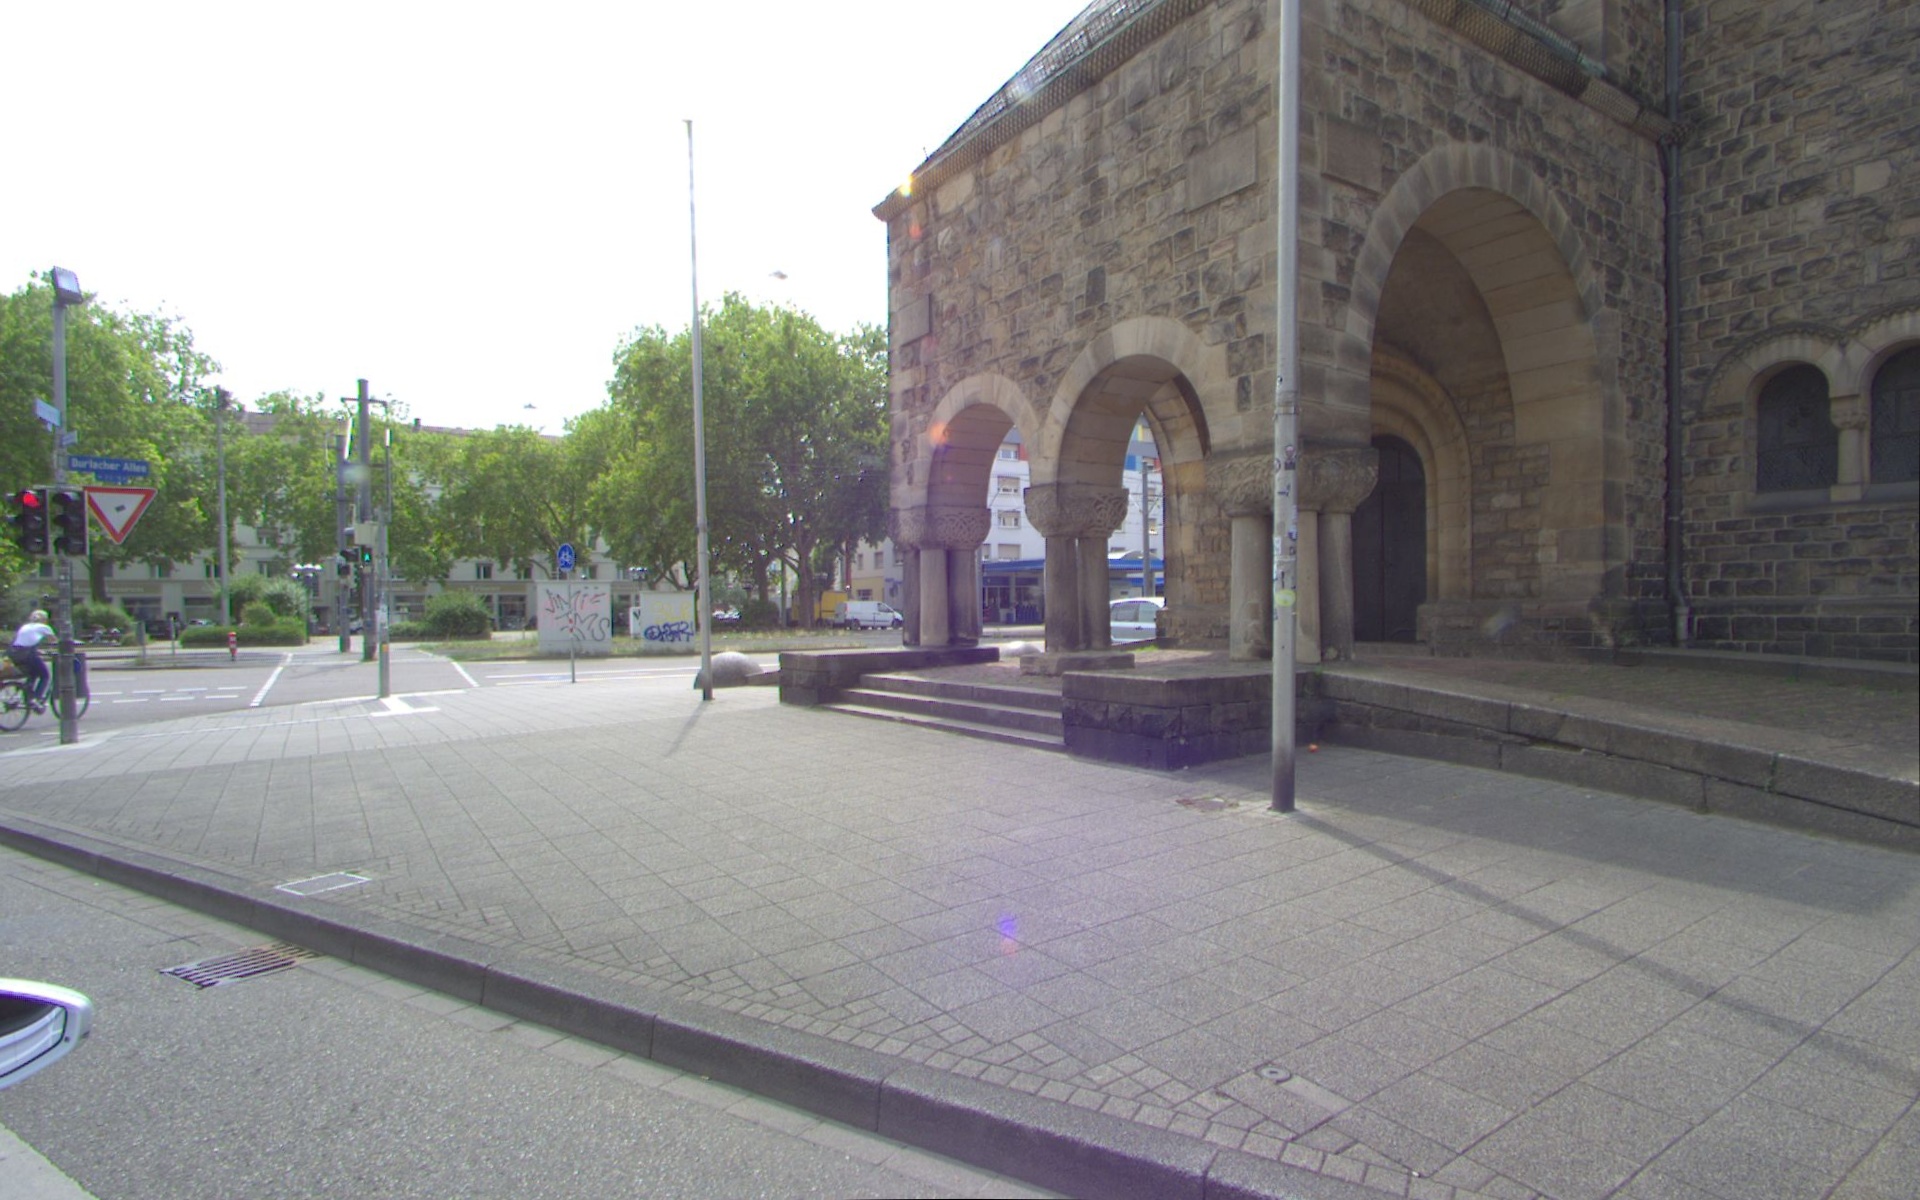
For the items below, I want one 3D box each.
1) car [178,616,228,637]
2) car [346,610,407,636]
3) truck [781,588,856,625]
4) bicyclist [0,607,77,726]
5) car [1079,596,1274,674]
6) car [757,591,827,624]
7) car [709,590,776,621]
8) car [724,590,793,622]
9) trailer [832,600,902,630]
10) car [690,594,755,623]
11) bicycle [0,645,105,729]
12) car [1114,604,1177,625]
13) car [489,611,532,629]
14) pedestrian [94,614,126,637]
[{"bbox_3d":[-56.960,1.951,75.343,3.949,1.523,1.986,-1,0,37],"label":"car"},{"bbox_3d":[-44.847,1.752,77.030,3.946,1.908,1.846,-1,0,-34],"label":"car"},{"bbox_3d":[-10.513,0.503,73.938,3.040,2.612,6.468,-1,0,-34],"label":"truck"},{"bbox_3d":[-13.820,0.964,14.796,0.890,1.706,0.756,0,0,-14],"label":"bicyclist"},{"bbox_3d":[4.684,0.716,22.171,1.992,1.563,4.002,0,0,-33],"label":"car"},{"bbox_3d":[-13.946,0.625,83.244,5.269,2.618,2.165,0,-1,-36],"label":"car"},{"bbox_3d":[-19.196,0.517,88.416,5.269,2.618,2.482,0,-1,-36],"label":"car"},{"bbox_3d":[-17.293,0.513,86.188,5.269,2.618,2.482,0,-1,-36],"label":"car"},{"bbox_3d":[-6.249,1.012,67.625,4.377,1.951,1.843,0,0,-33],"label":"trailer"},{"bbox_3d":[-21.993,0.802,92.684,5.269,2.618,2.482,0,-1,-36],"label":"car"},{"bbox_3d":[-13.808,1.257,14.836,0.889,1.089,1.968,0,0,-12],"label":"bicycle"},{"bbox_3d":[14.109,1.099,76.127,4.554,1.535,1.985,0,-1,-31],"label":"car"},{"bbox_3d":[-39.333,1.716,87.541,3.949,1.523,1.760,-1,0,37],"label":"car"},{"bbox_3d":[-48.036,1.460,56.590,1.422,1.252,1.087,-1,1,37],"label":"pedestrian"}]
